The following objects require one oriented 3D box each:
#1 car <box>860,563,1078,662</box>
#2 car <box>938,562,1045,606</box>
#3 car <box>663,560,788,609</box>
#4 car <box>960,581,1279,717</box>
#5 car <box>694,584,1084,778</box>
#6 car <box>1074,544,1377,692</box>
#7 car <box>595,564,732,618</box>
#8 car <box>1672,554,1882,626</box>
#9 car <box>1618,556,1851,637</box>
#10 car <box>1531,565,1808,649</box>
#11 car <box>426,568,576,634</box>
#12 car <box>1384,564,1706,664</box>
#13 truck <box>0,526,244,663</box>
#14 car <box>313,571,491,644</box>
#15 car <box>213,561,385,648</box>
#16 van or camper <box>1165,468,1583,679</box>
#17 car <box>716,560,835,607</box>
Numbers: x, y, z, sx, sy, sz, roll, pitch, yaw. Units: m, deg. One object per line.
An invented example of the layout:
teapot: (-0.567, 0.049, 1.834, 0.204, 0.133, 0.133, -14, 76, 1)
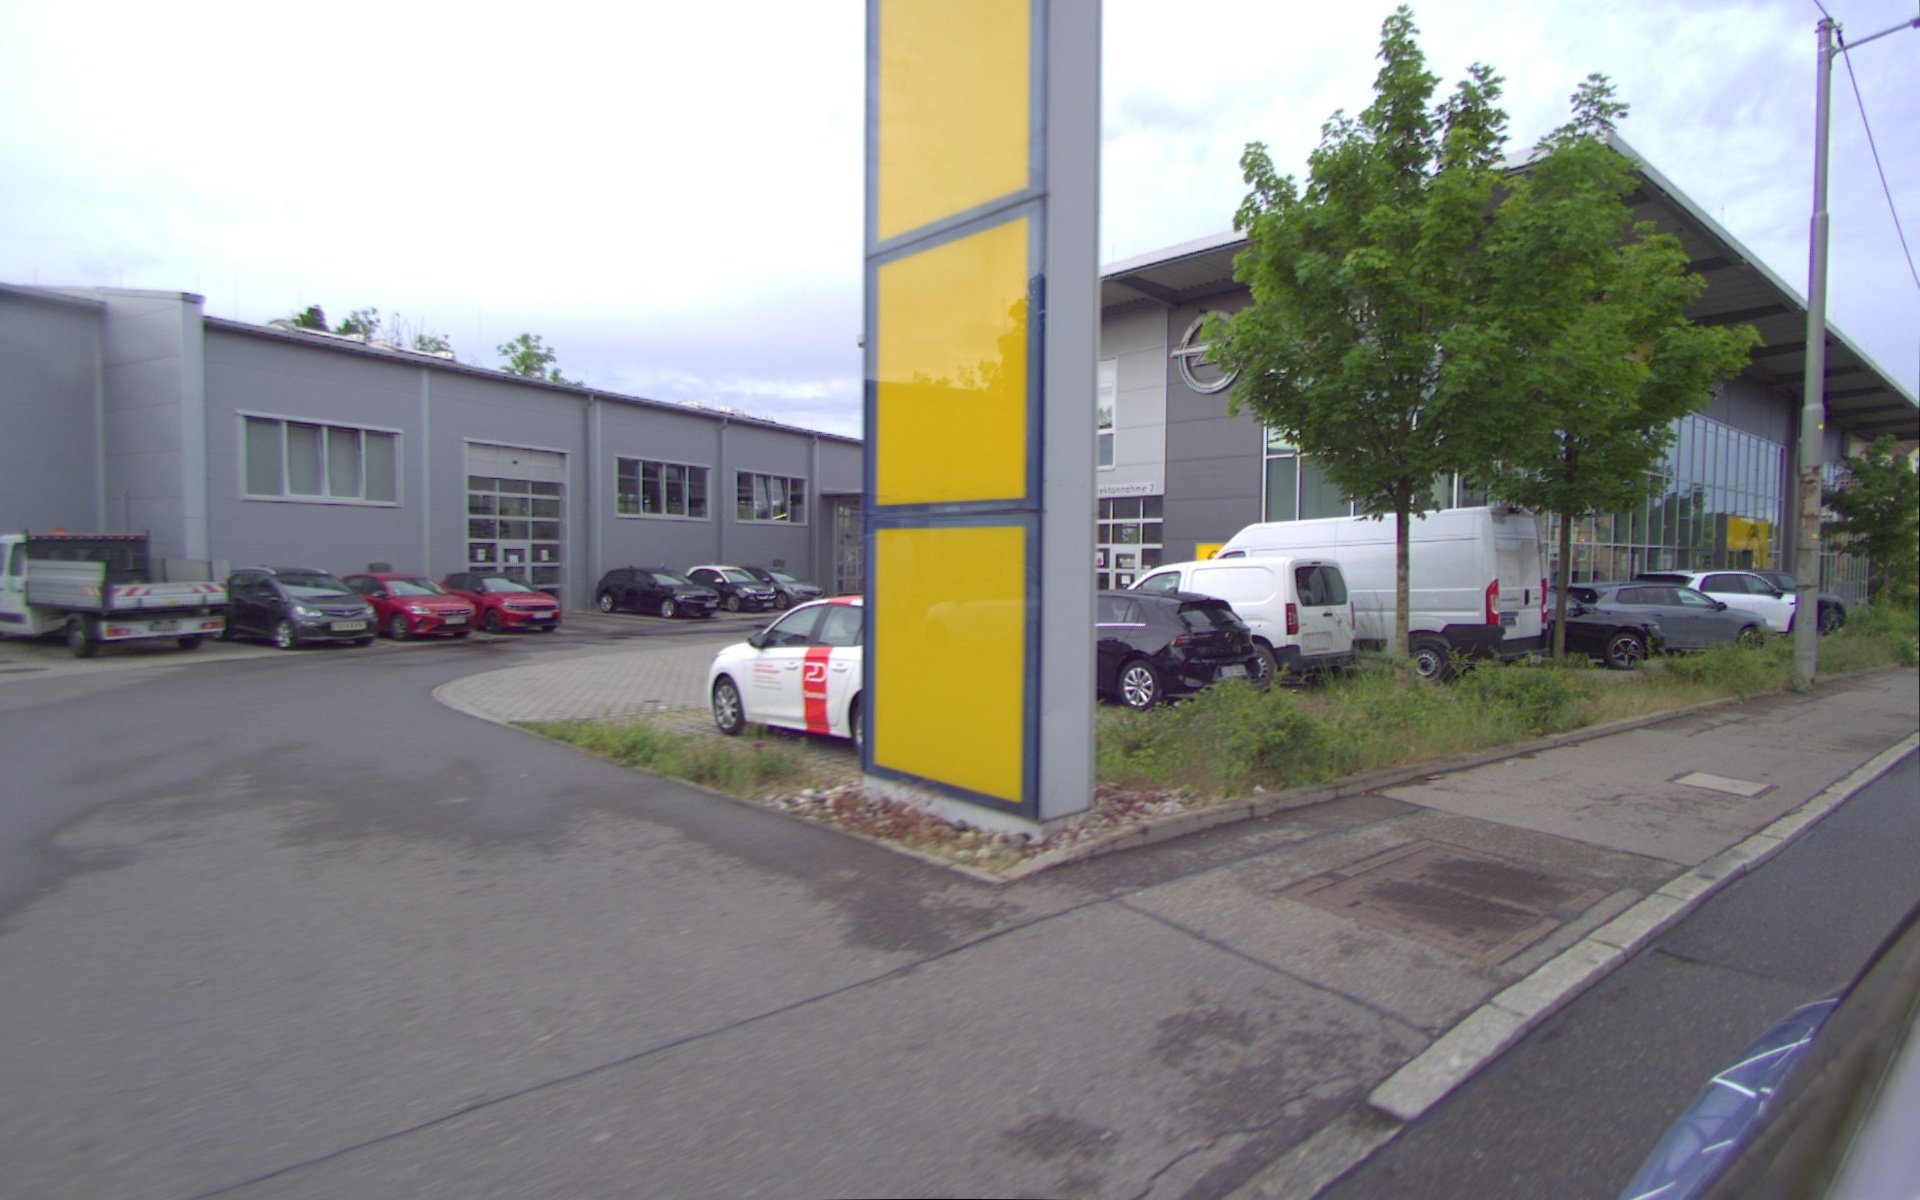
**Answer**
car: (0.062, 0.154, 19.184, 1.834, 1.660, 4.146, 0, 1, -42)
car: (1.162, -0.534, 35.175, 1.985, 1.438, 3.953, 1, 1, 32)
car: (-7.963, -0.534, 34.296, 3.966, 1.569, 1.828, 1, 1, 30)
car: (1.936, 0.507, 13.269, 1.717, 1.448, 3.995, -3, 2, -40)
car: (-0.883, 0.612, 9.989, 1.861, 1.446, 3.996, 1, 1, -39)
car: (3.802, 0.155, 15.092, 1.810, 1.869, 4.138, -3, 3, -38)
car: (-9.118, -0.329, 31.103, 3.967, 1.440, 1.822, 3, 3, 30)
car: (21.497, -0.276, 26.692, 4.335, 1.731, 2.005, 1, 3, -14)
car: (17.989, -0.093, 23.548, 4.481, 1.731, 2.005, 1, 3, -17)
car: (14.040, 0.128, 20.113, 4.476, 1.472, 1.921, 1, 3, -13)
car: (-11.734, -0.037, 25.803, 3.977, 1.526, 1.806, 2, 2, 37)
car: (10.144, 0.186, 17.891, 4.441, 1.472, 1.913, 2, 3, 7)
truck: (-17.261, -0.279, 20.193, 6.220, 2.262, 2.345, 3, 6, 29)
car: (-13.031, 0.114, 23.600, 3.964, 1.526, 1.812, 2, 2, 29)
car: (-13.985, 0.028, 21.365, 3.977, 1.652, 1.806, 2, 2, 37)
van or camper: (6.314, -0.395, 16.160, 2.310, 2.758, 5.748, 1, 1, -40)
car: (-6.564, -0.598, 35.955, 3.966, 1.569, 1.828, 1, 1, 30)
